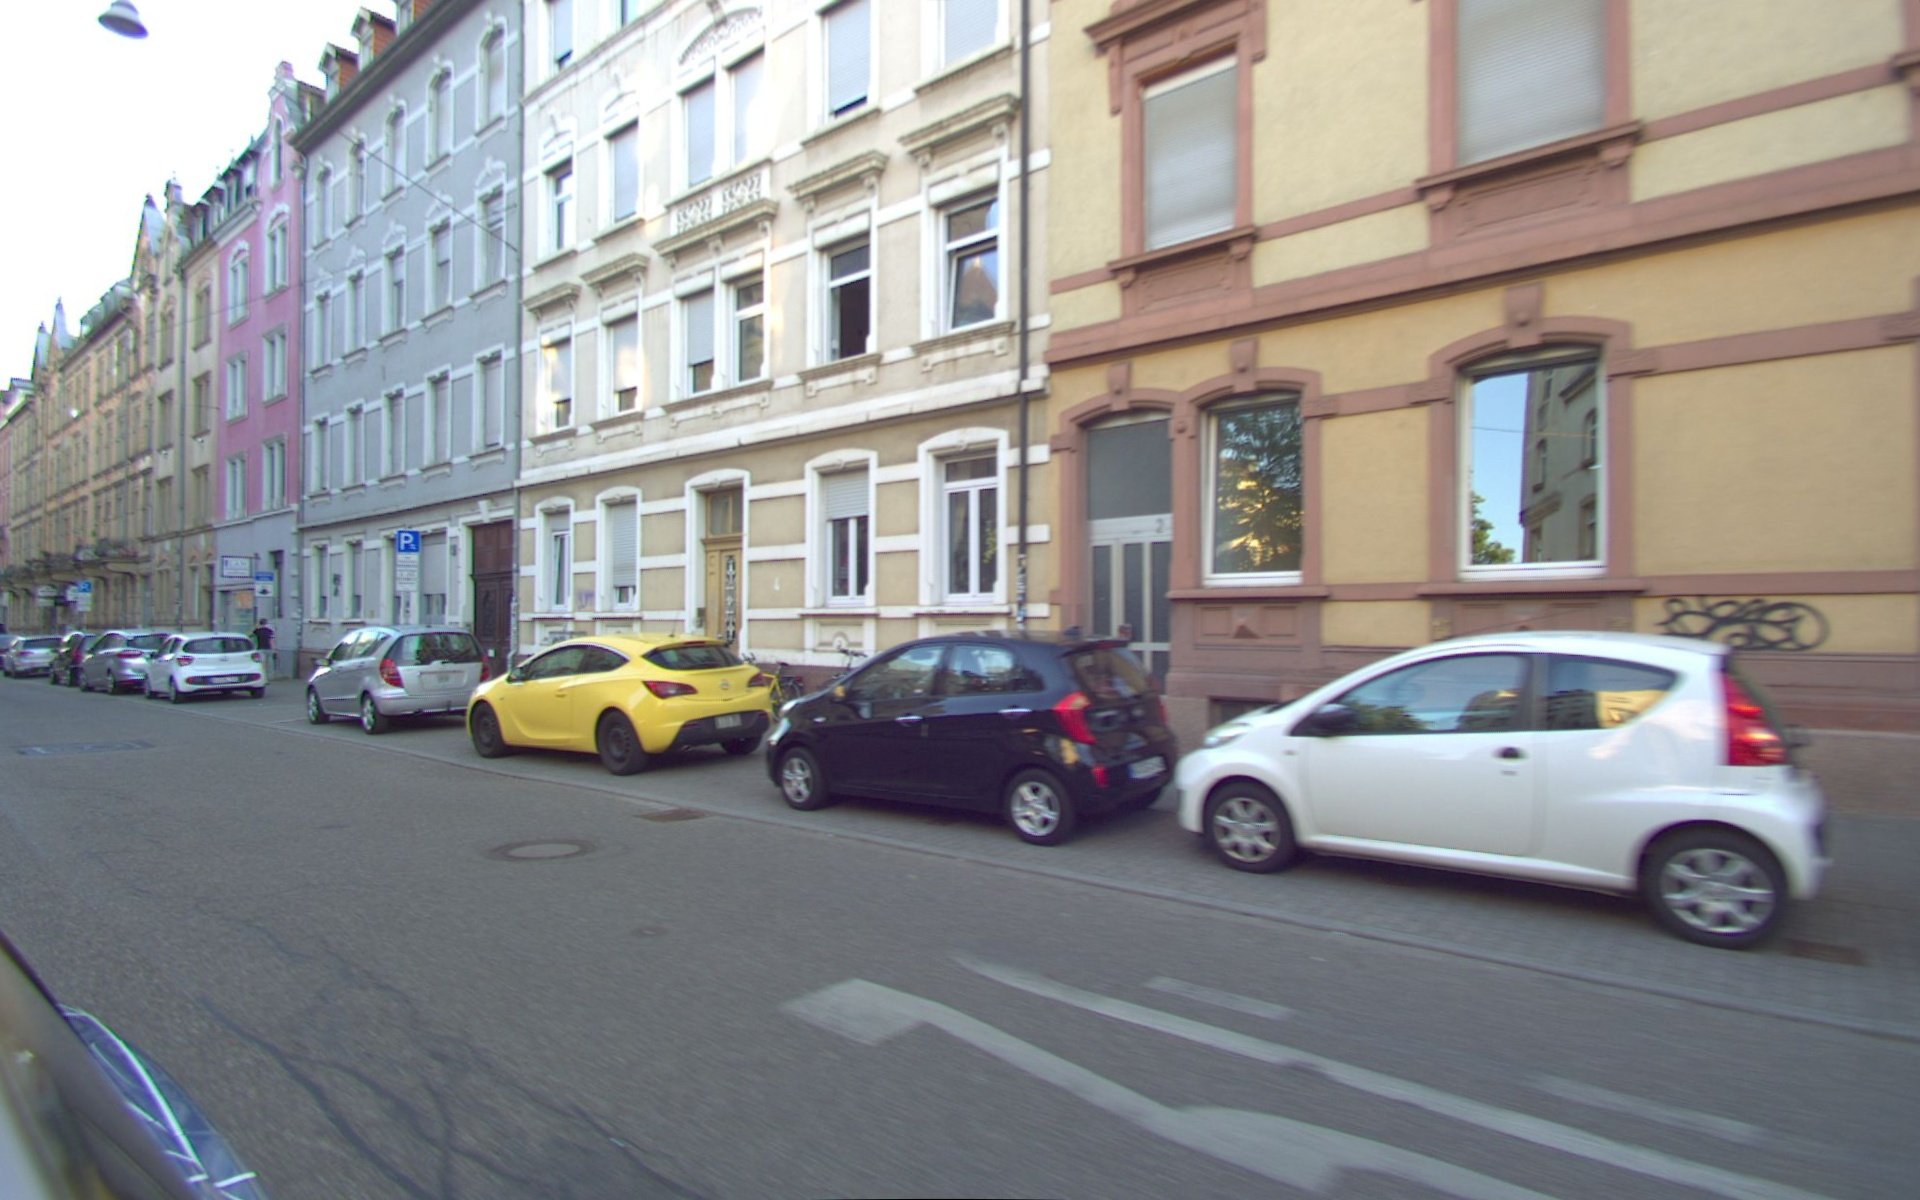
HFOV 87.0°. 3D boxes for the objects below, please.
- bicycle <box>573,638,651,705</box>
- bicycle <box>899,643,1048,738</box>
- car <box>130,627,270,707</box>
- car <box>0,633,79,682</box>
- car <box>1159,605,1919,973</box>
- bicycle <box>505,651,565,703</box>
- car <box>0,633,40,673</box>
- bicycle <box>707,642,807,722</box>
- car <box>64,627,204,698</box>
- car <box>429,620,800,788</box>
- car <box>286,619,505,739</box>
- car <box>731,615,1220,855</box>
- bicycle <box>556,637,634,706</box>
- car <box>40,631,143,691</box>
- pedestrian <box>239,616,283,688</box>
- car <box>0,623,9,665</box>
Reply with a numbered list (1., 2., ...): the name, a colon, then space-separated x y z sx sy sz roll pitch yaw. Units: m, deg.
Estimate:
1. bicycle: -6.231 1.254 18.096 1.863 1.149 0.474 -2 -3 42
2. bicycle: 0.144 1.080 12.514 1.832 1.078 0.655 -2 -2 39
3. car: -17.348 1.458 23.036 3.925 1.588 1.735 -2 0 41
4. car: -33.248 2.042 36.410 4.056 1.486 1.735 -2 3 42
5. car: 3.203 0.829 5.971 3.610 1.502 1.667 -2 0 40
6. bicycle: -8.377 1.508 19.923 1.463 0.984 0.396 -2 -5 38
7. car: -40.103 2.236 42.344 4.276 1.486 1.736 -2 3 40
8. bicycle: -3.108 1.215 15.379 1.863 1.149 0.474 -2 -3 42
9. car: -21.434 1.555 26.189 4.666 1.604 1.815 -2 0 38
10. car: -4.218 1.074 11.929 4.795 1.537 1.821 -2 0 38
11. car: -9.089 1.159 16.152 4.144 1.604 1.781 -2 0 42
12. car: 0.025 0.923 8.361 3.736 1.502 1.713 -2 0 37
13. bicycle: -6.450 1.235 17.841 1.863 1.149 0.474 -2 -3 42
14. car: -26.062 1.787 30.335 4.054 1.604 1.735 -2 0 41
15. pedestrian: -19.333 1.421 27.995 0.834 1.964 0.840 -2 -2 44
16. car: -47.345 2.170 48.585 4.287 1.975 1.851 -2 1 39
